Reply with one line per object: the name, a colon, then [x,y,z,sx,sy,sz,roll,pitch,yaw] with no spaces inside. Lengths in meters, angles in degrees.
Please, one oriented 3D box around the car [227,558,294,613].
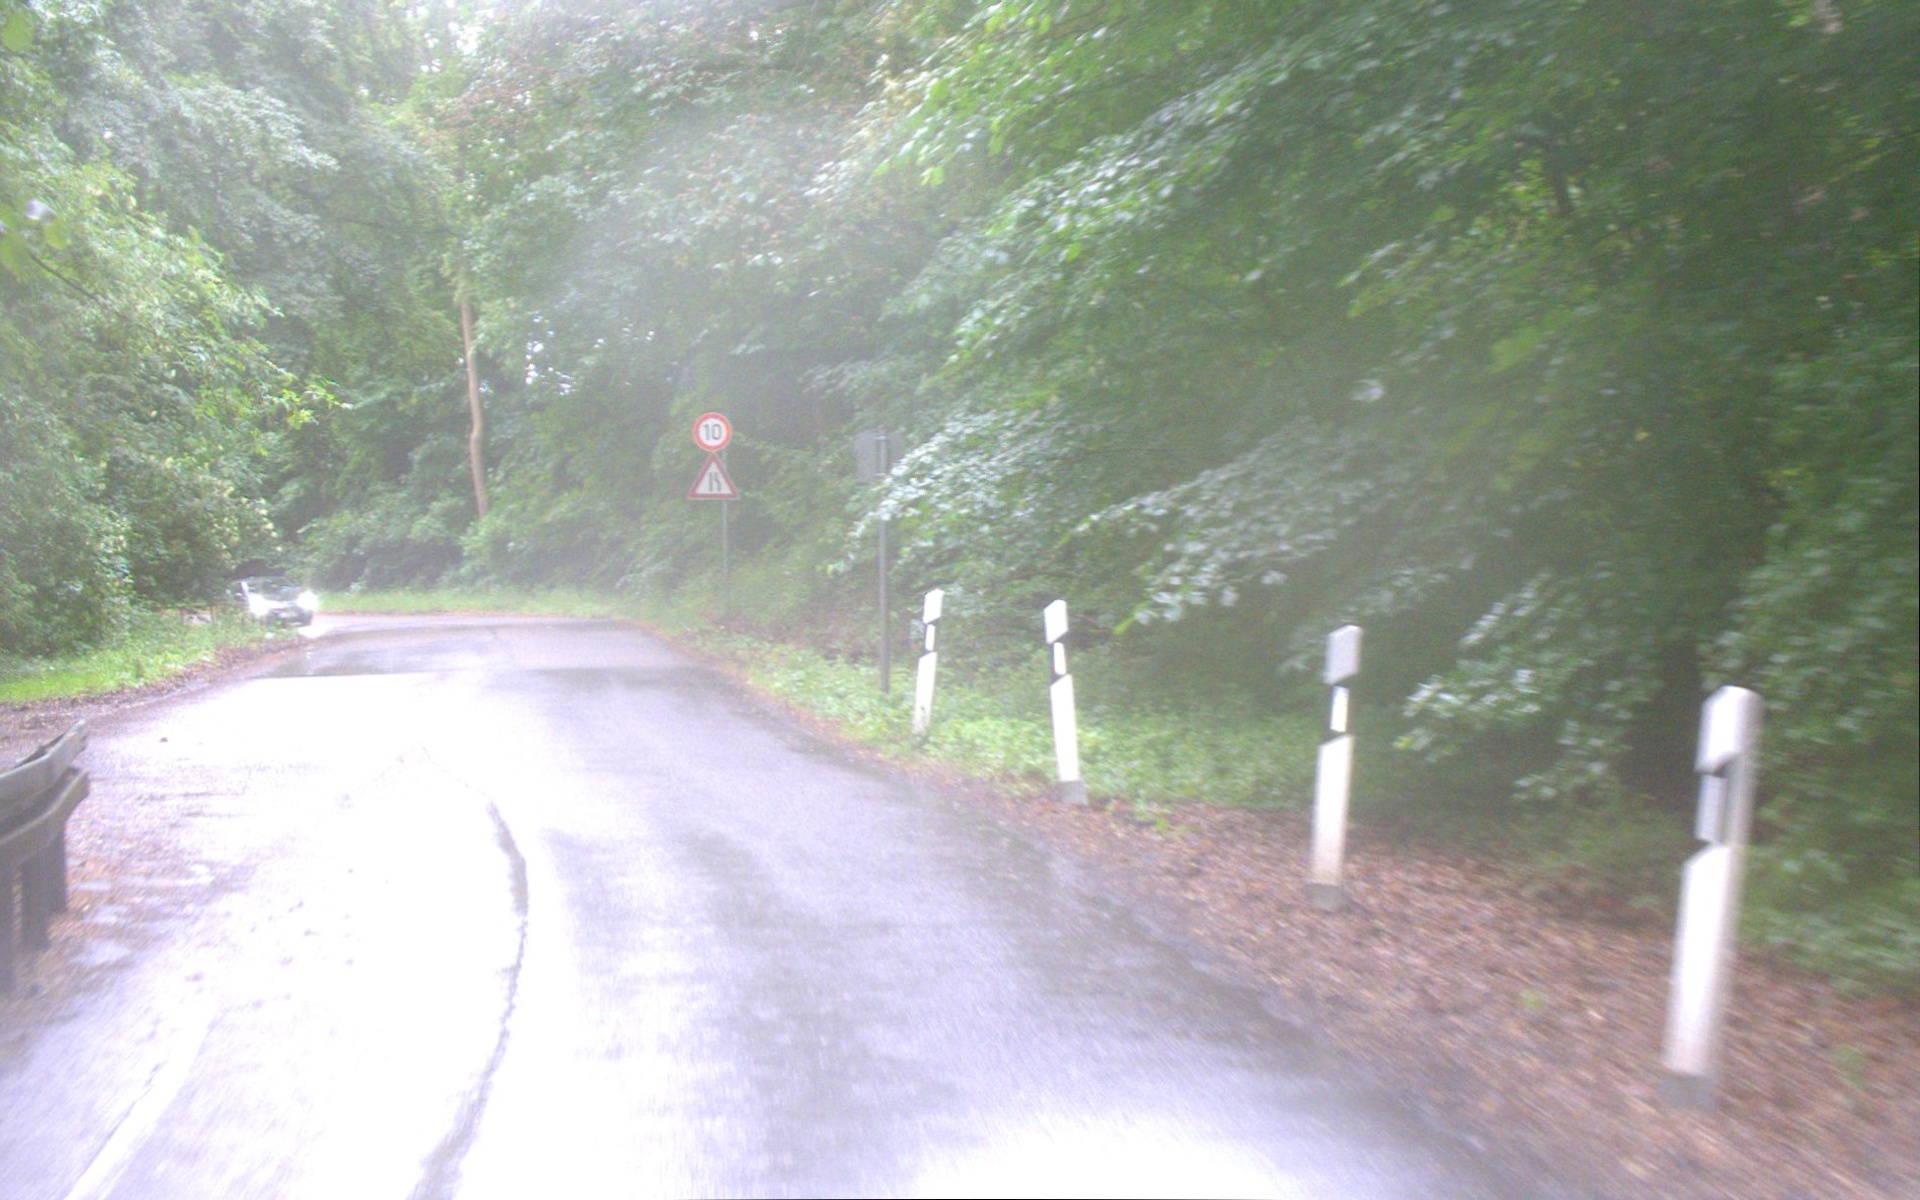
car: [-19.730,-0.428,96.840,1.713,1.470,3.892,-1,1,-13]
